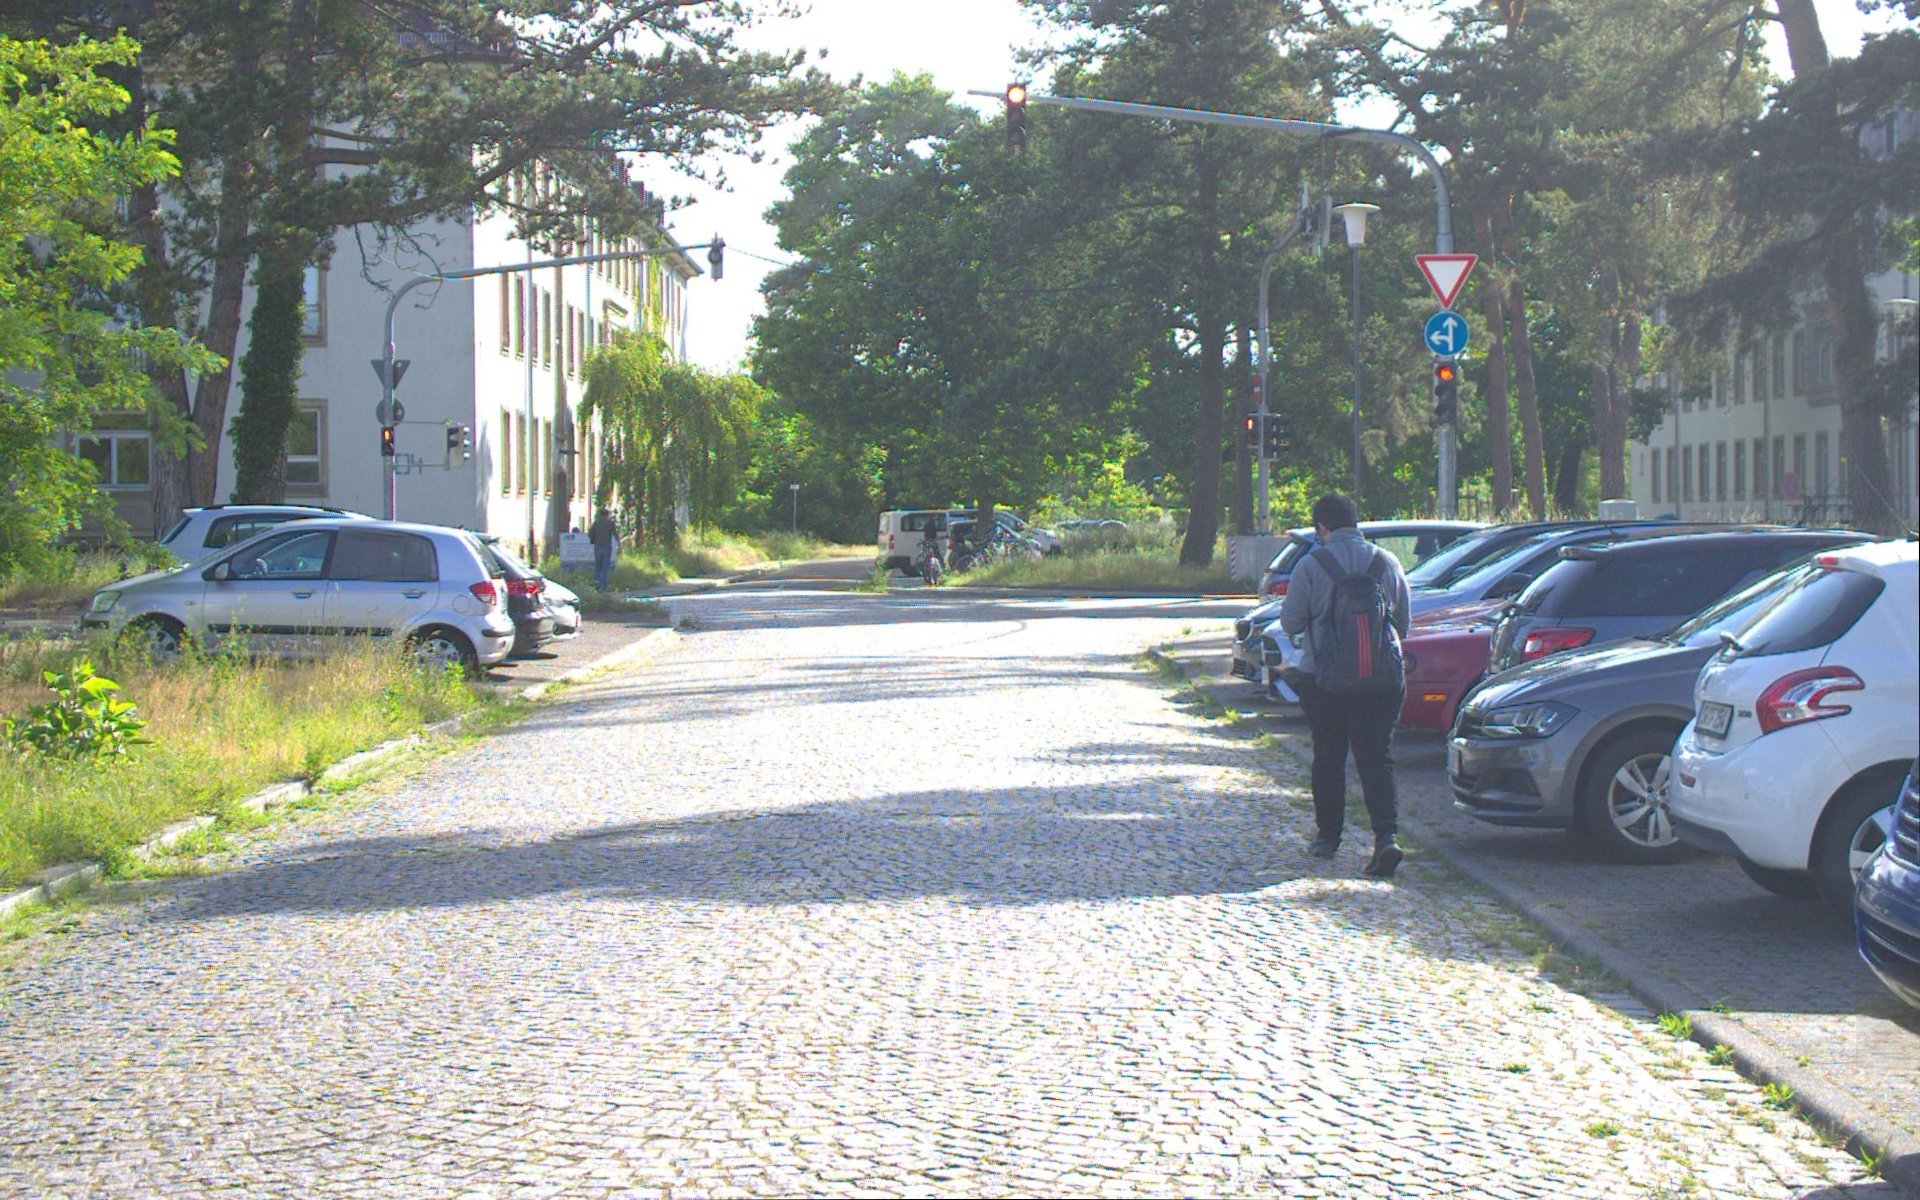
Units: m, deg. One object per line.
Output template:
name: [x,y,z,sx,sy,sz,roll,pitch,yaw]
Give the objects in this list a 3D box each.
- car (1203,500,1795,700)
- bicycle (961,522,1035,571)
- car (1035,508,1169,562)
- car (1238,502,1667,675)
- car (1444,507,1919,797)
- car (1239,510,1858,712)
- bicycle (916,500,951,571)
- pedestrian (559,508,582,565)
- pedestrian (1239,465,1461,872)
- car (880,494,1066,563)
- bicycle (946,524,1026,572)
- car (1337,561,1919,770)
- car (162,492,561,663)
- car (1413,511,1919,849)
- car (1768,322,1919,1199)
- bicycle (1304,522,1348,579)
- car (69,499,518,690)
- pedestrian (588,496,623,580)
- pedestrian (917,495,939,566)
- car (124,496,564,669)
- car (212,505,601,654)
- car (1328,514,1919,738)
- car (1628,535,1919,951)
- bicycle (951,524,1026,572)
car: [4.490,-0.026,29.091,4.619,1.450,1.870,-2,2,-2]
bicycle: [0.906,-1.282,81.797,1.727,1.160,0.561,0,1,-3]
car: [4.210,-1.941,102.381,3.743,1.574,1.742,0,1,-7]
car: [4.480,-0.123,31.627,3.673,1.438,1.665,-2,1,0]
car: [4.654,0.239,19.050,3.663,1.450,1.667,-2,1,0]
car: [4.441,0.058,26.379,4.399,1.384,1.789,-1,1,-1]
bicycle: [-0.600,-1.458,77.426,0.753,1.575,2.537,0,1,-1]
pedestrian: [-10.686,-1.739,94.348,0.606,1.554,0.545,0,2,-7]
pedestrian: [1.736,0.290,15.426,0.753,1.719,0.828,5,1,-1]
car: [0.348,-2.058,98.498,5.065,1.911,2.001,0,1,-9]
bicycle: [0.611,-1.216,80.572,1.834,1.108,0.495,0,1,-3]
car: [4.188,0.389,21.648,3.460,1.238,1.536,0,1,0]
car: [-6.244,-0.252,36.147,3.879,1.610,1.661,2,1,-1]
car: [4.138,0.319,16.178,3.781,1.445,1.758,-1,1,1]
car: [4.519,0.294,7.998,4.754,2.006,2.000,-2,1,0]
bicycle: [7.314,-1.006,68.662,0.722,1.111,2.583,0,1,9]
car: [-5.912,-0.071,30.801,3.685,1.522,1.699,2,1,-3]
pedestrian: [-7.393,-1.300,71.758,0.606,1.746,0.630,0,1,-18]
pedestrian: [-0.898,-1.955,96.735,0.594,2.007,0.572,0,1,2]
car: [-5.945,-0.189,33.464,3.937,1.440,1.691,3,1,-1]
car: [-6.217,-0.253,38.851,3.987,1.490,1.772,2,2,4]
car: [4.671,0.153,24.032,3.979,1.443,1.656,-1,1,-1]
car: [4.558,0.493,13.248,3.645,1.487,1.634,0,1,0]
bicycle: [0.675,-1.229,81.117,1.727,1.108,0.484,0,1,-3]
